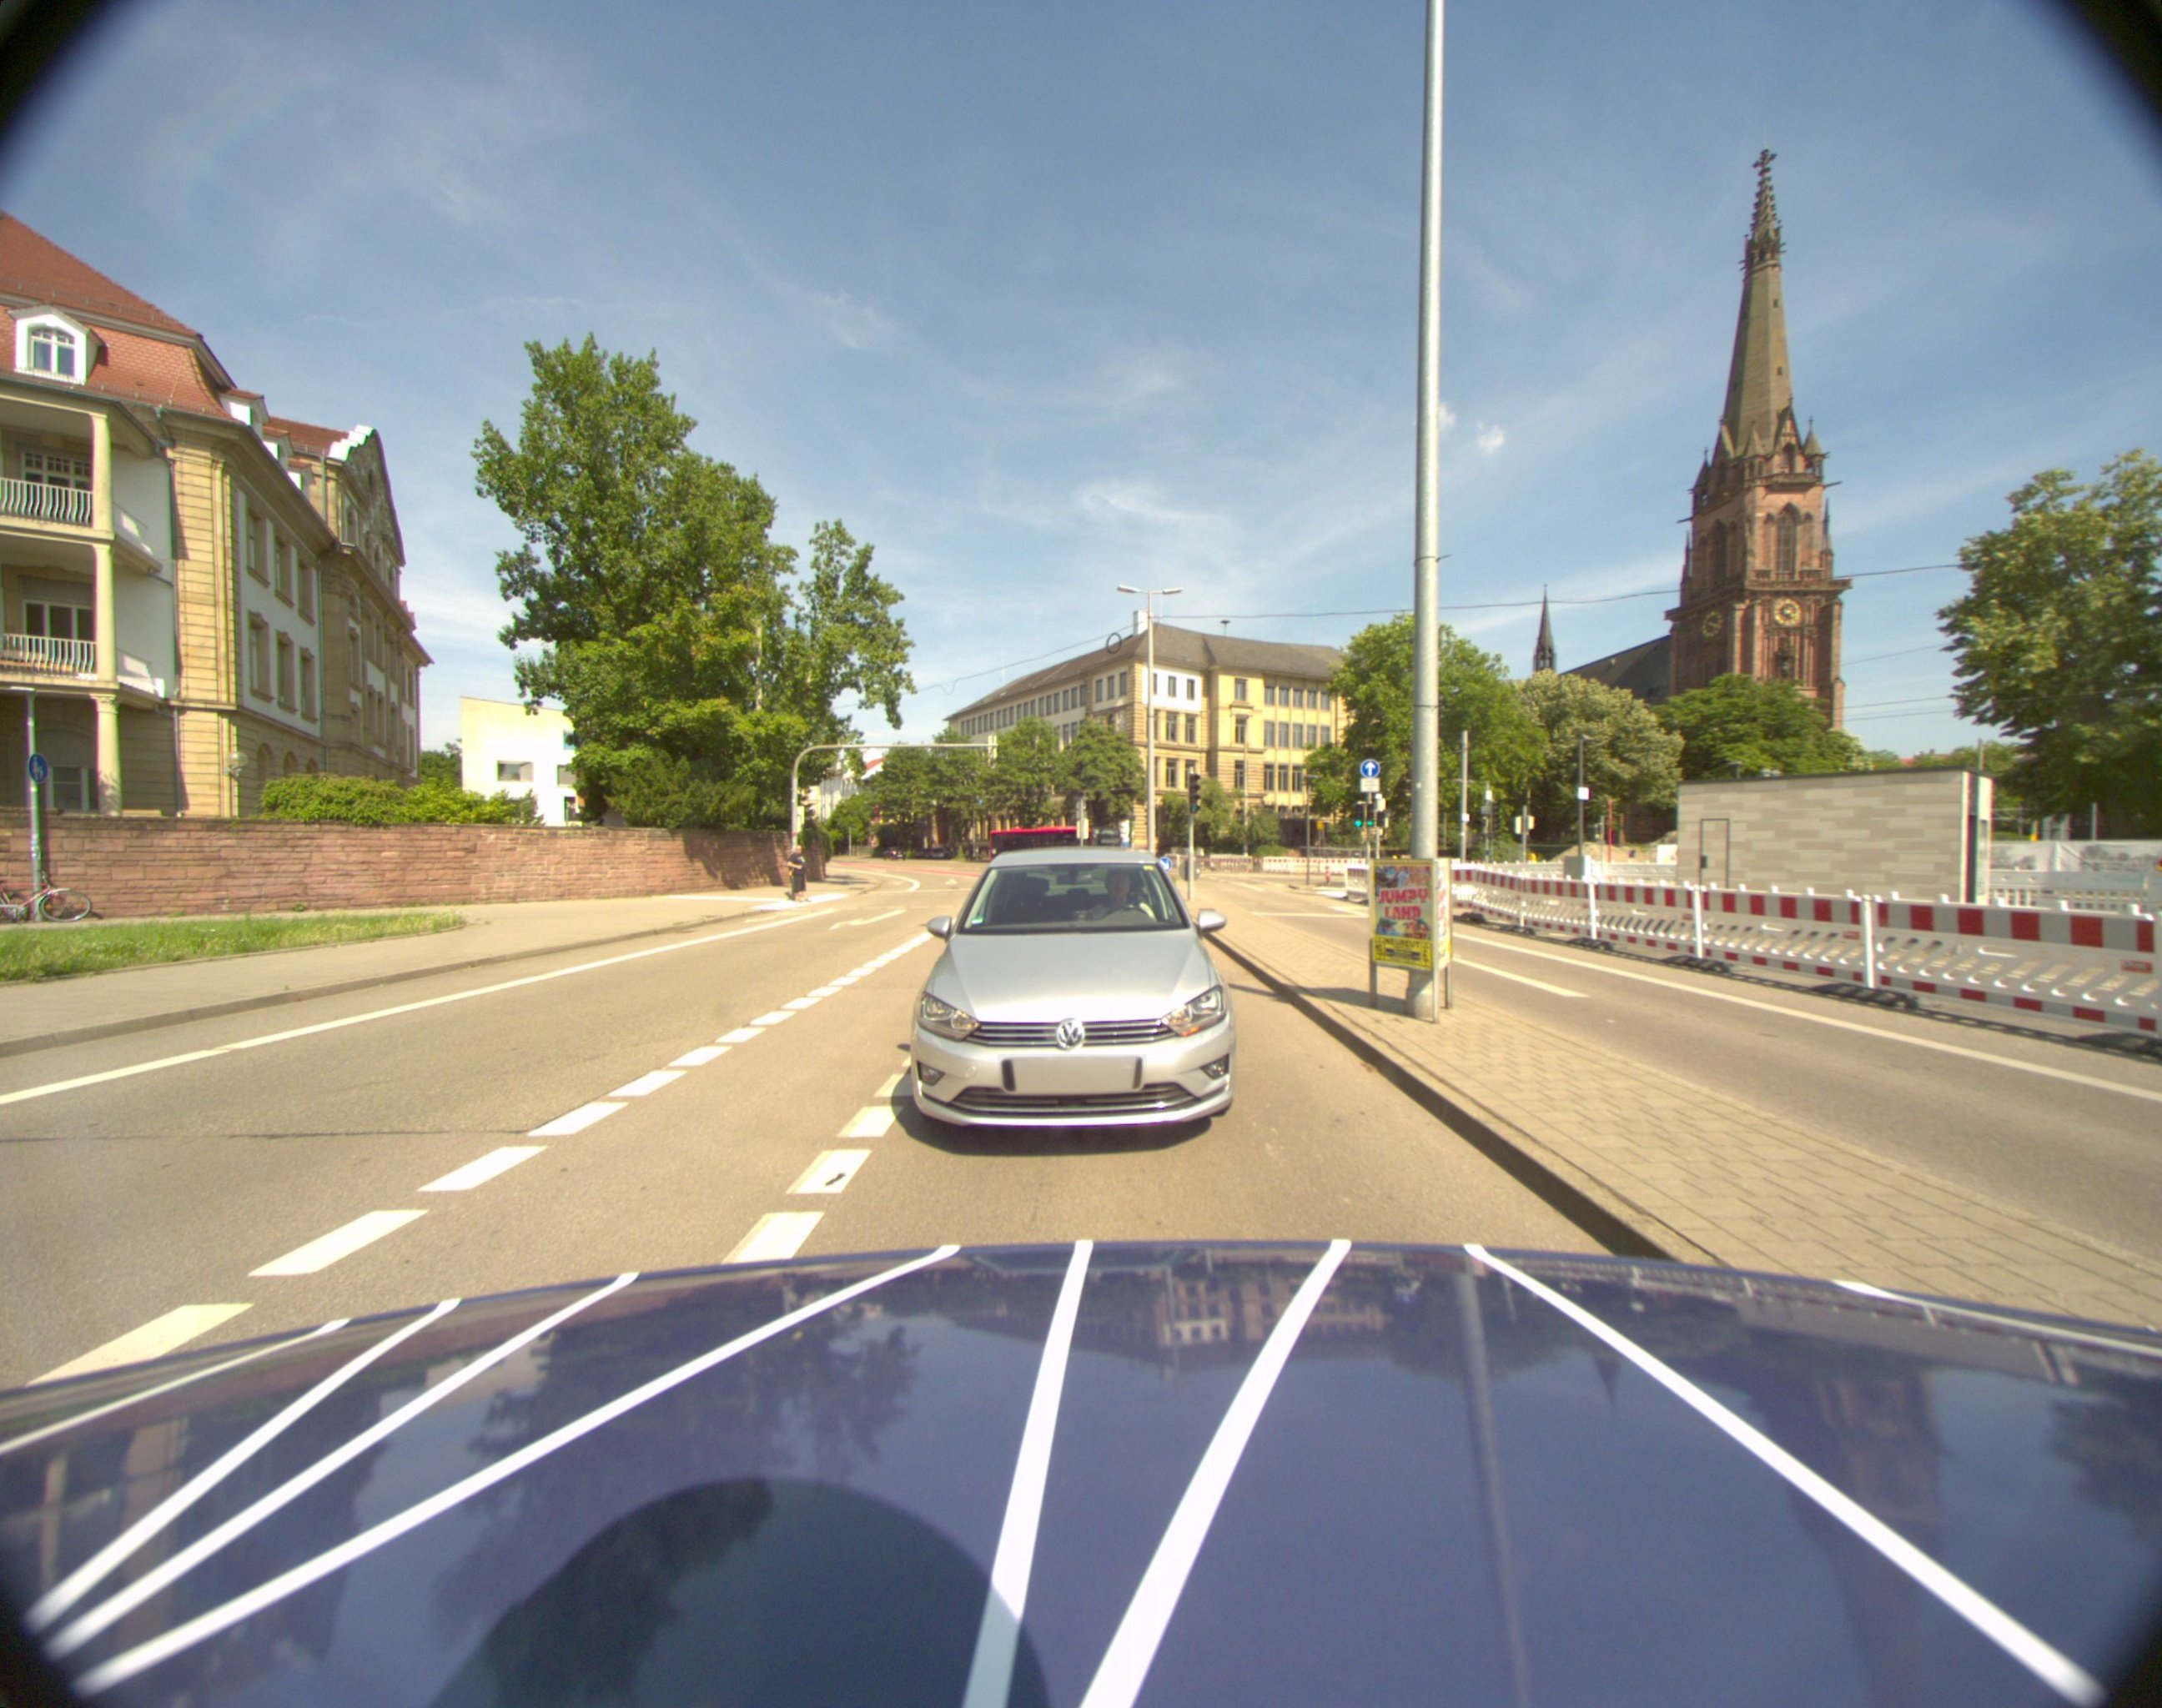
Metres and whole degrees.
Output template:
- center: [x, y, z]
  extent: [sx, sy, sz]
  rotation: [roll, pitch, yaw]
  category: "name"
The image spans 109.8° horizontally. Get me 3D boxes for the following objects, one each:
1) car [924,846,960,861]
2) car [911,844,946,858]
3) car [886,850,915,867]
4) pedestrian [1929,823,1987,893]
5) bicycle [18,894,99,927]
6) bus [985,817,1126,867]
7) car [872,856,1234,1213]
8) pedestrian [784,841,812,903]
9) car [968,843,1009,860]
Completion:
- center: [-17.532, -0.106, 95.980]
  extent: [4.006, 1.653, 1.994]
  rotation: [-3, 4, -35]
  category: "car"
- center: [-20.108, -0.428, 99.995]
  extent: [4.006, 1.653, 1.994]
  rotation: [-3, 4, -34]
  category: "car"
- center: [-21.189, 0.493, 89.110]
  extent: [2.003, 1.880, 3.990]
  rotation: [-3, 1, -31]
  category: "car"
- center: [25.553, 0.109, 22.146]
  extent: [0.820, 2.002, 0.686]
  rotation: [1, 1, 3]
  category: "pedestrian"
- center: [-20.573, 1.129, 15.306]
  extent: [0.274, 0.598, 0.950]
  rotation: [1, 1, 39]
  category: "bicycle"
- center: [-2.147, -0.734, 53.502]
  extent: [3.138, 3.076, 12.379]
  rotation: [-3, 2, -38]
  category: "bus"
- center: [-0.038, 0.843, 5.619]
  extent: [1.687, 1.577, 4.152]
  rotation: [0, 1, 3]
  category: "car"
- center: [-9.194, 0.574, 24.701]
  extent: [0.796, 2.002, 0.615]
  rotation: [0, 1, -14]
  category: "pedestrian"
- center: [-10.147, -0.299, 83.575]
  extent: [4.006, 1.653, 1.994]
  rotation: [-3, 4, -36]
  category: "car"
